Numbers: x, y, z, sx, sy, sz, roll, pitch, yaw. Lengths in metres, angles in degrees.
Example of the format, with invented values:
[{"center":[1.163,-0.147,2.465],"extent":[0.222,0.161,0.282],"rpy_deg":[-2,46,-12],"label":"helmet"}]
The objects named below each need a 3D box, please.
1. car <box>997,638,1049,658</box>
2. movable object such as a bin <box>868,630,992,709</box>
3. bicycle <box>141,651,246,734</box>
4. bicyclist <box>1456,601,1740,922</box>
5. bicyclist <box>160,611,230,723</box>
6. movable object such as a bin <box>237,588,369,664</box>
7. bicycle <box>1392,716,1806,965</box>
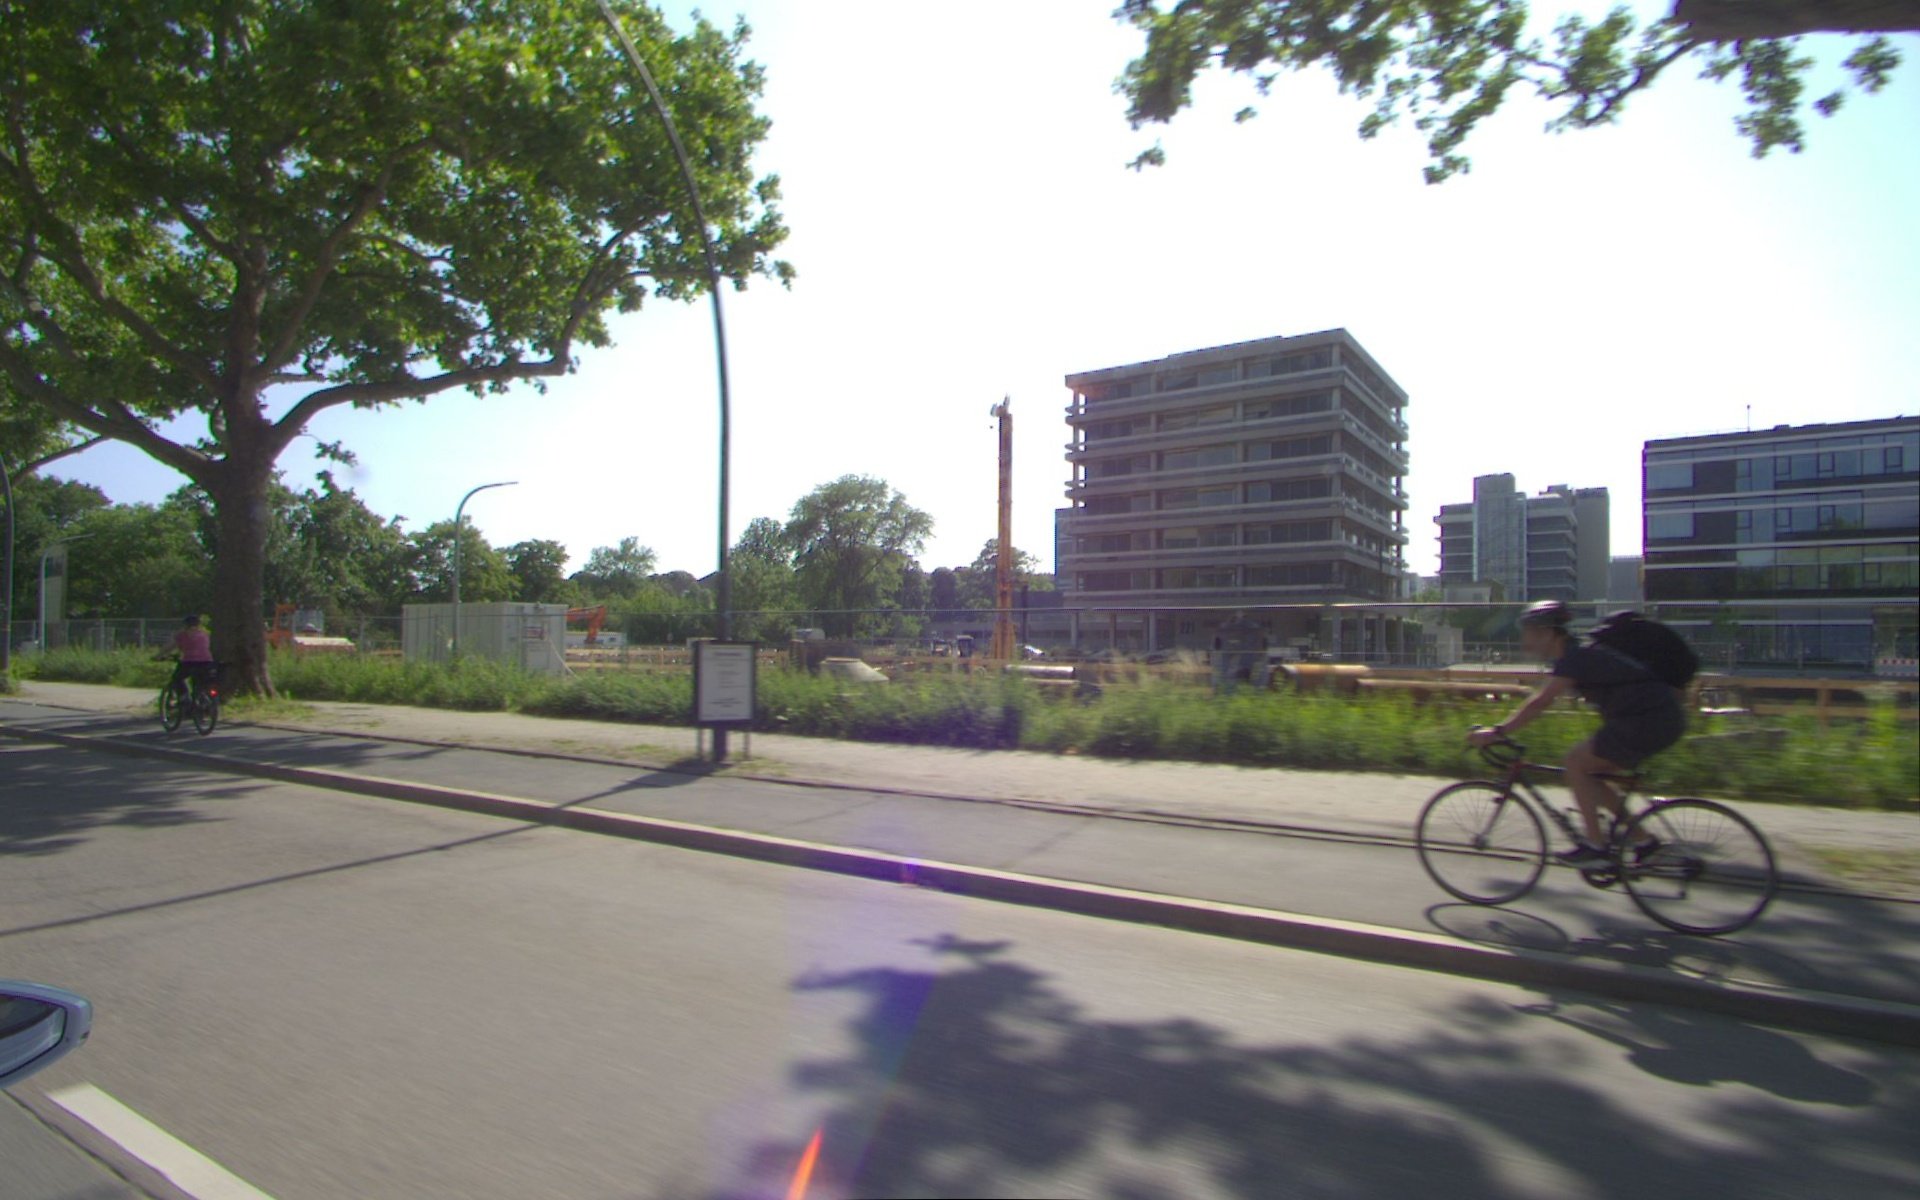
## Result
[{"center":[5.678,4.316,90.558],"extent":[4.375,1.794,1.787],"rpy_deg":[-1,-2,35],"label":"car"},{"center":[-2.497,4.982,73.144],"extent":[6.635,5.240,11.768],"rpy_deg":[2,-3,-14],"label":"movable object such as a bin"},{"center":[-11.501,1.349,15.010],"extent":[1.918,1.144,0.650],"rpy_deg":[-1,-1,33],"label":"bicycle"},{"center":[3.310,0.767,5.284],"extent":[1.197,1.509,0.597],"rpy_deg":[0,1,32],"label":"bicyclist"},{"center":[-11.429,0.981,14.955],"extent":[0.722,1.621,0.618],"rpy_deg":[0,0,32],"label":"bicyclist"},{"center":[-28.705,1.133,43.695],"extent":[5.896,3.110,2.367],"rpy_deg":[0,-3,31],"label":"movable object such as a bin"},{"center":[3.280,1.185,5.307],"extent":[1.755,0.993,0.596],"rpy_deg":[0,0,32],"label":"bicycle"}]
